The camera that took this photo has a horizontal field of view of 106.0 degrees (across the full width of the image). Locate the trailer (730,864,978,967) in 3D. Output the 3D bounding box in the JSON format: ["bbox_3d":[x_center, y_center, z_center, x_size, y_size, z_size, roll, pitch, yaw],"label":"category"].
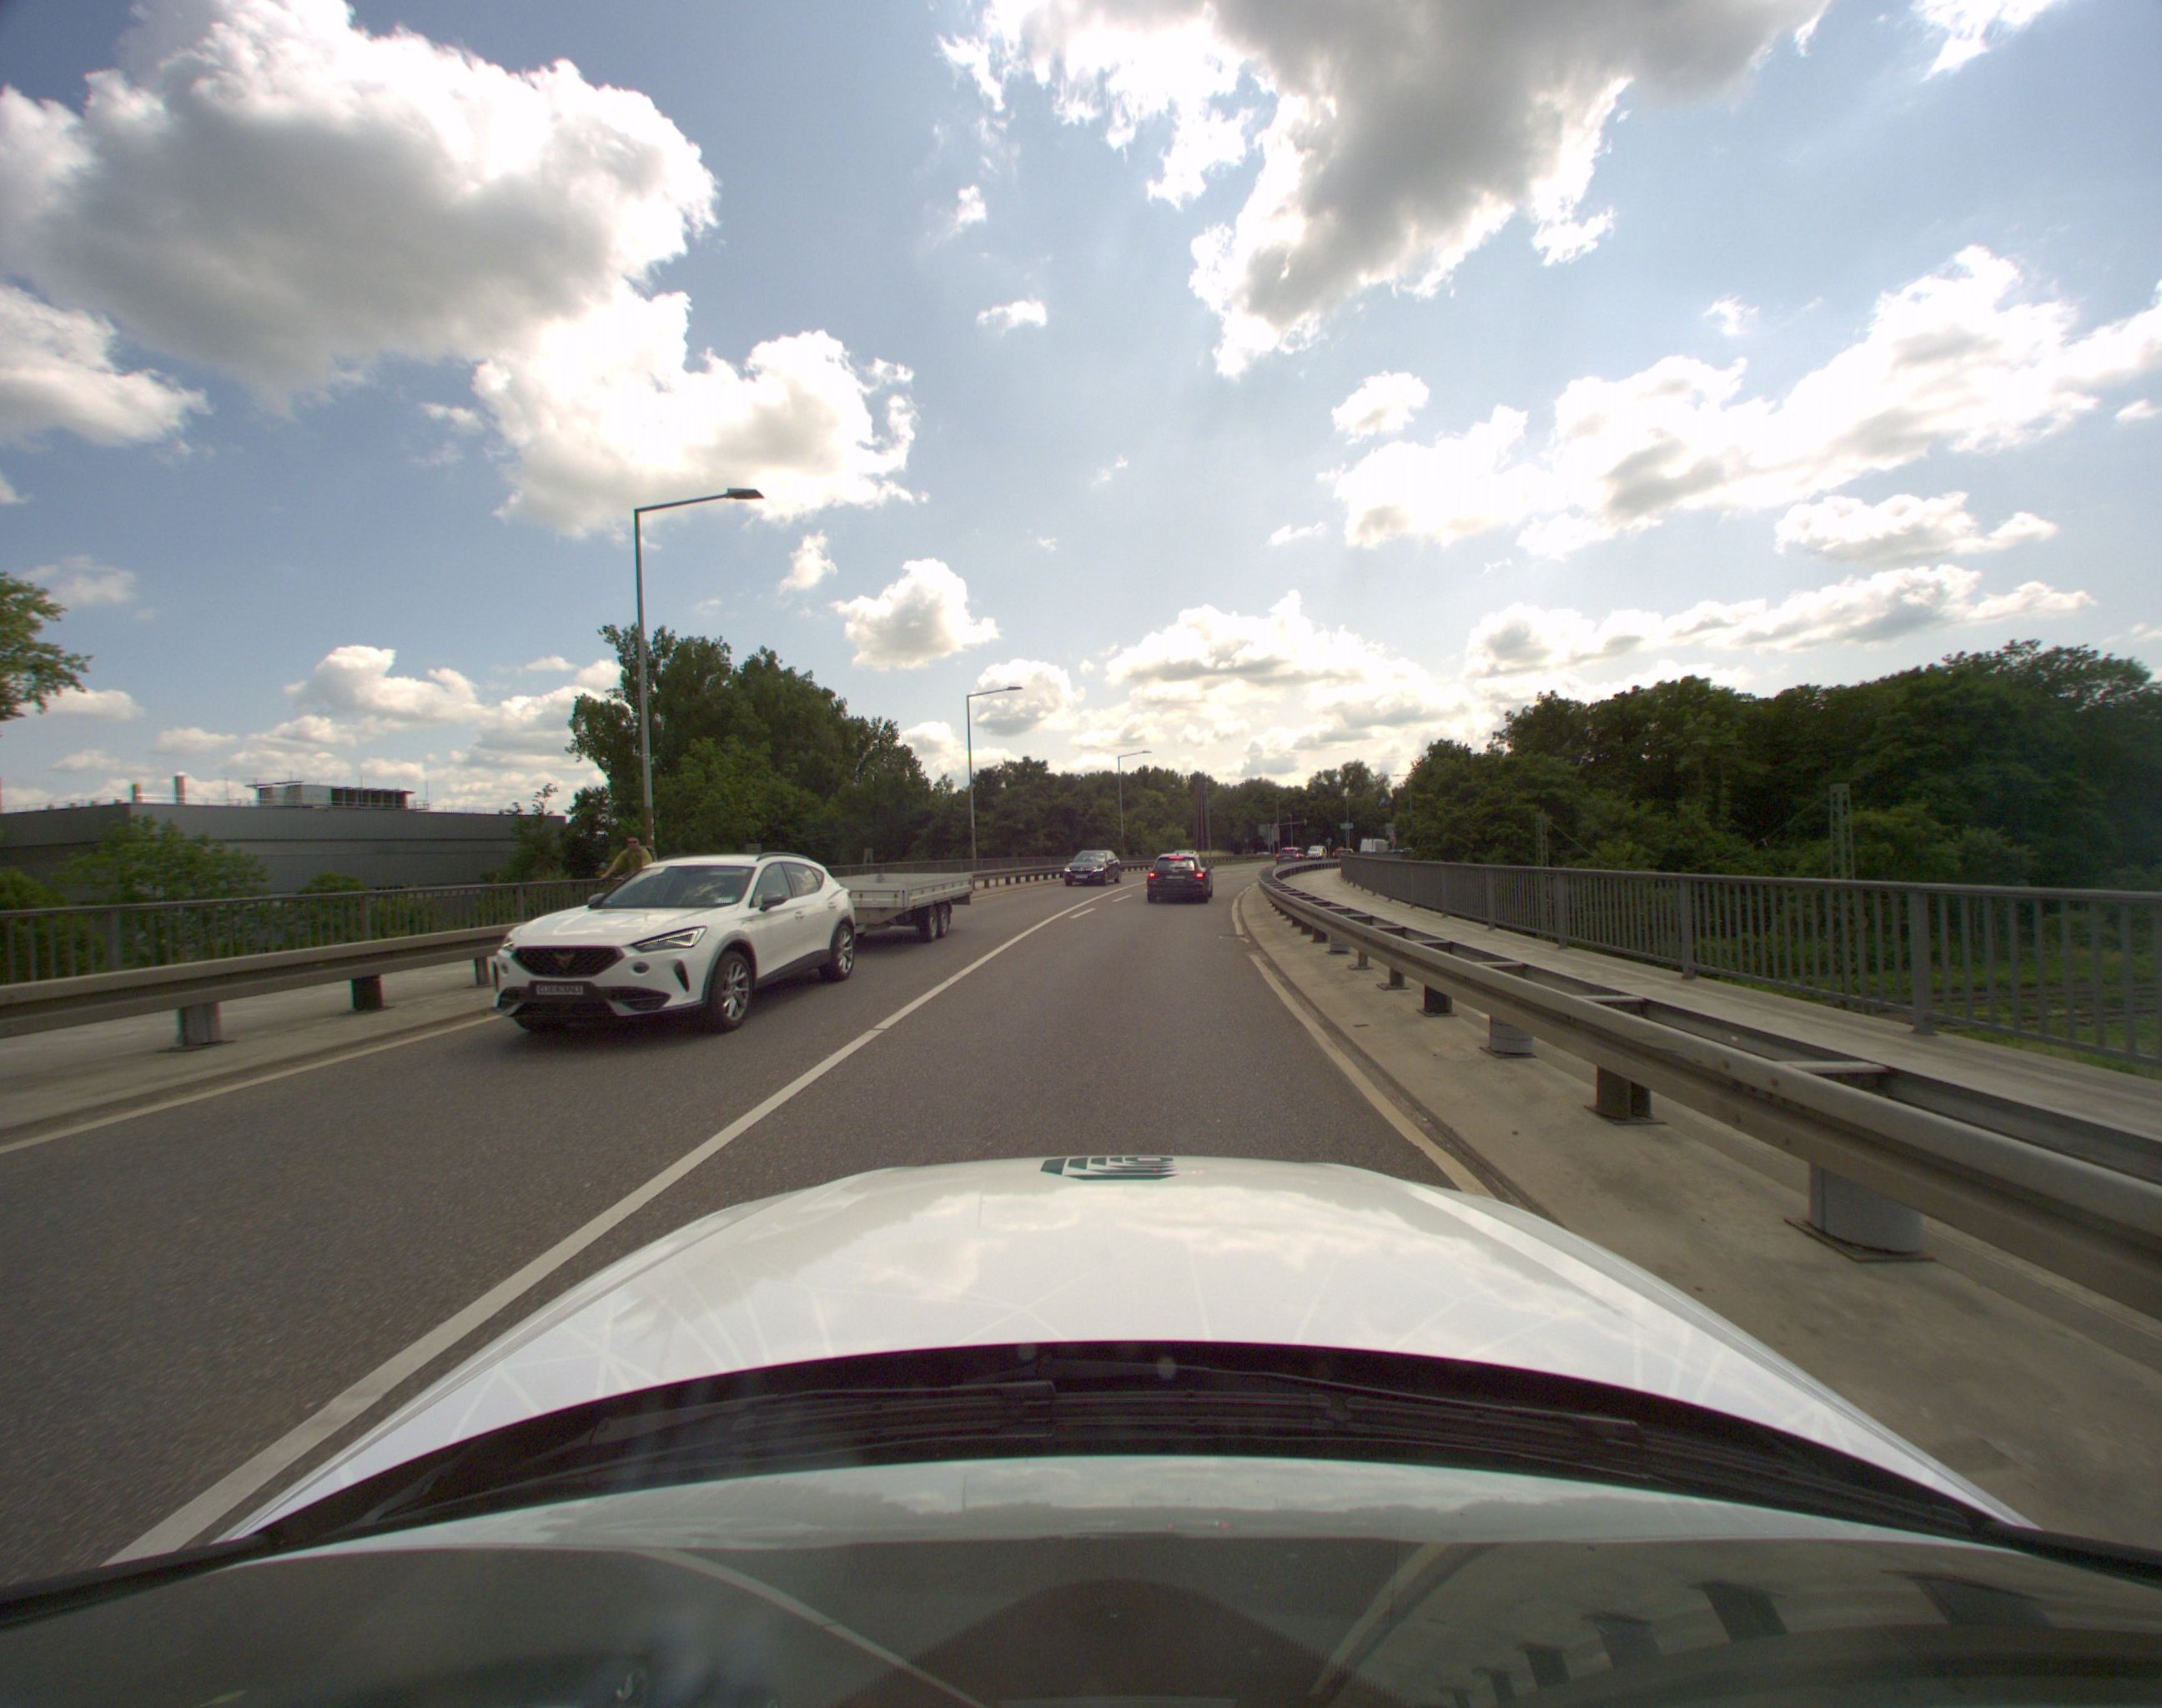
[{"bbox_3d":[-3.350,0.838,13.606,2.036,1.209,5.990,0,0,4],"label":"trailer"}]

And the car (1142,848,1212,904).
[{"bbox_3d":[3.032,0.612,25.032,1.816,1.491,4.220,0,1,11],"label":"car"}]

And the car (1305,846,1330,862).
[{"bbox_3d":[28.008,-0.012,96.331,1.796,1.754,4.332,0,0,31],"label":"car"}]

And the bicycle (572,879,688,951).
[{"bbox_3d":[-7.811,1.014,14.233,0.766,1.095,2.116,-1,0,2],"label":"bicycle"}]

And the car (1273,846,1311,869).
[{"bbox_3d":[15.891,0.230,61.256,1.804,1.651,3.879,1,1,29],"label":"car"}]

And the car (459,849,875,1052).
[{"bbox_3d":[-3.729,0.725,8.404,1.798,1.535,4.354,0,0,4],"label":"car"}]

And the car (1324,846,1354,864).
[{"bbox_3d":[24.499,0.054,77.193,1.717,1.651,3.880,0,0,34],"label":"car"}]

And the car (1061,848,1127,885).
[{"bbox_3d":[0.646,0.491,35.582,1.804,1.451,4.756,0,1,15],"label":"car"}]

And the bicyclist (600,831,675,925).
[{"bbox_3d":[-7.817,0.408,14.401,0.764,1.602,0.948,-1,0,2],"label":"bicyclist"}]

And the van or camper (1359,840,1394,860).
[{"bbox_3d":[34.985,-0.515,96.414,2.251,2.340,5.274,1,1,39],"label":"van or camper"}]

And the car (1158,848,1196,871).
[{"bbox_3d":[6.382,0.333,53.878,1.800,1.452,3.944,0,0,18],"label":"car"}]
